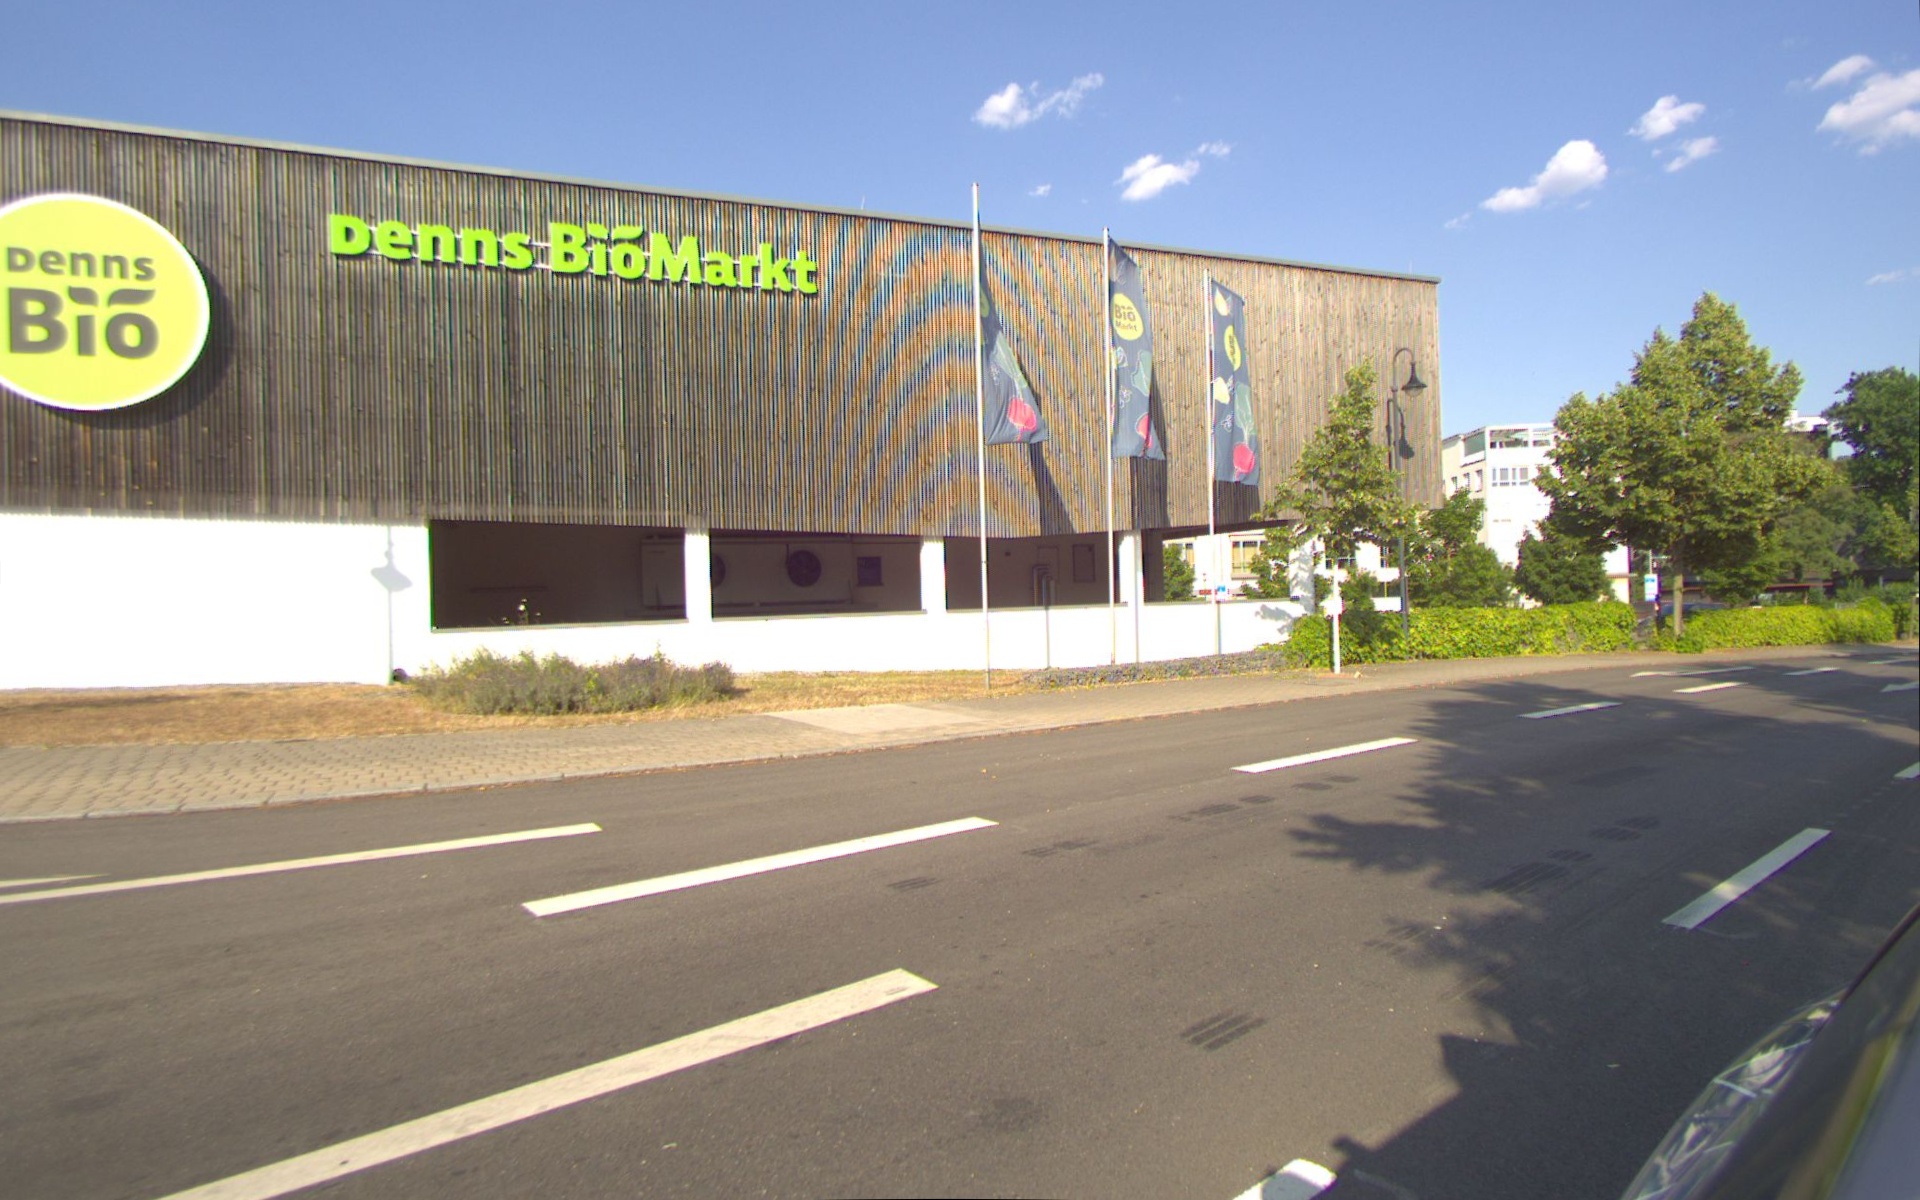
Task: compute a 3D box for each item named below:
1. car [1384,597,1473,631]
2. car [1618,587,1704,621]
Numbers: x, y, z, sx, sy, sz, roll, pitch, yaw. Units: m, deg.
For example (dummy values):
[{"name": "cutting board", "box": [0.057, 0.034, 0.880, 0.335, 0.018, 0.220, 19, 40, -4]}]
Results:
[{"name": "car", "box": [25.502, 0.768, 55.105, 4.225, 1.746, 1.898, 0, -3, -20]}, {"name": "car", "box": [40.638, 0.234, 58.649, 4.551, 1.878, 2.003, -1, -1, -25]}]
